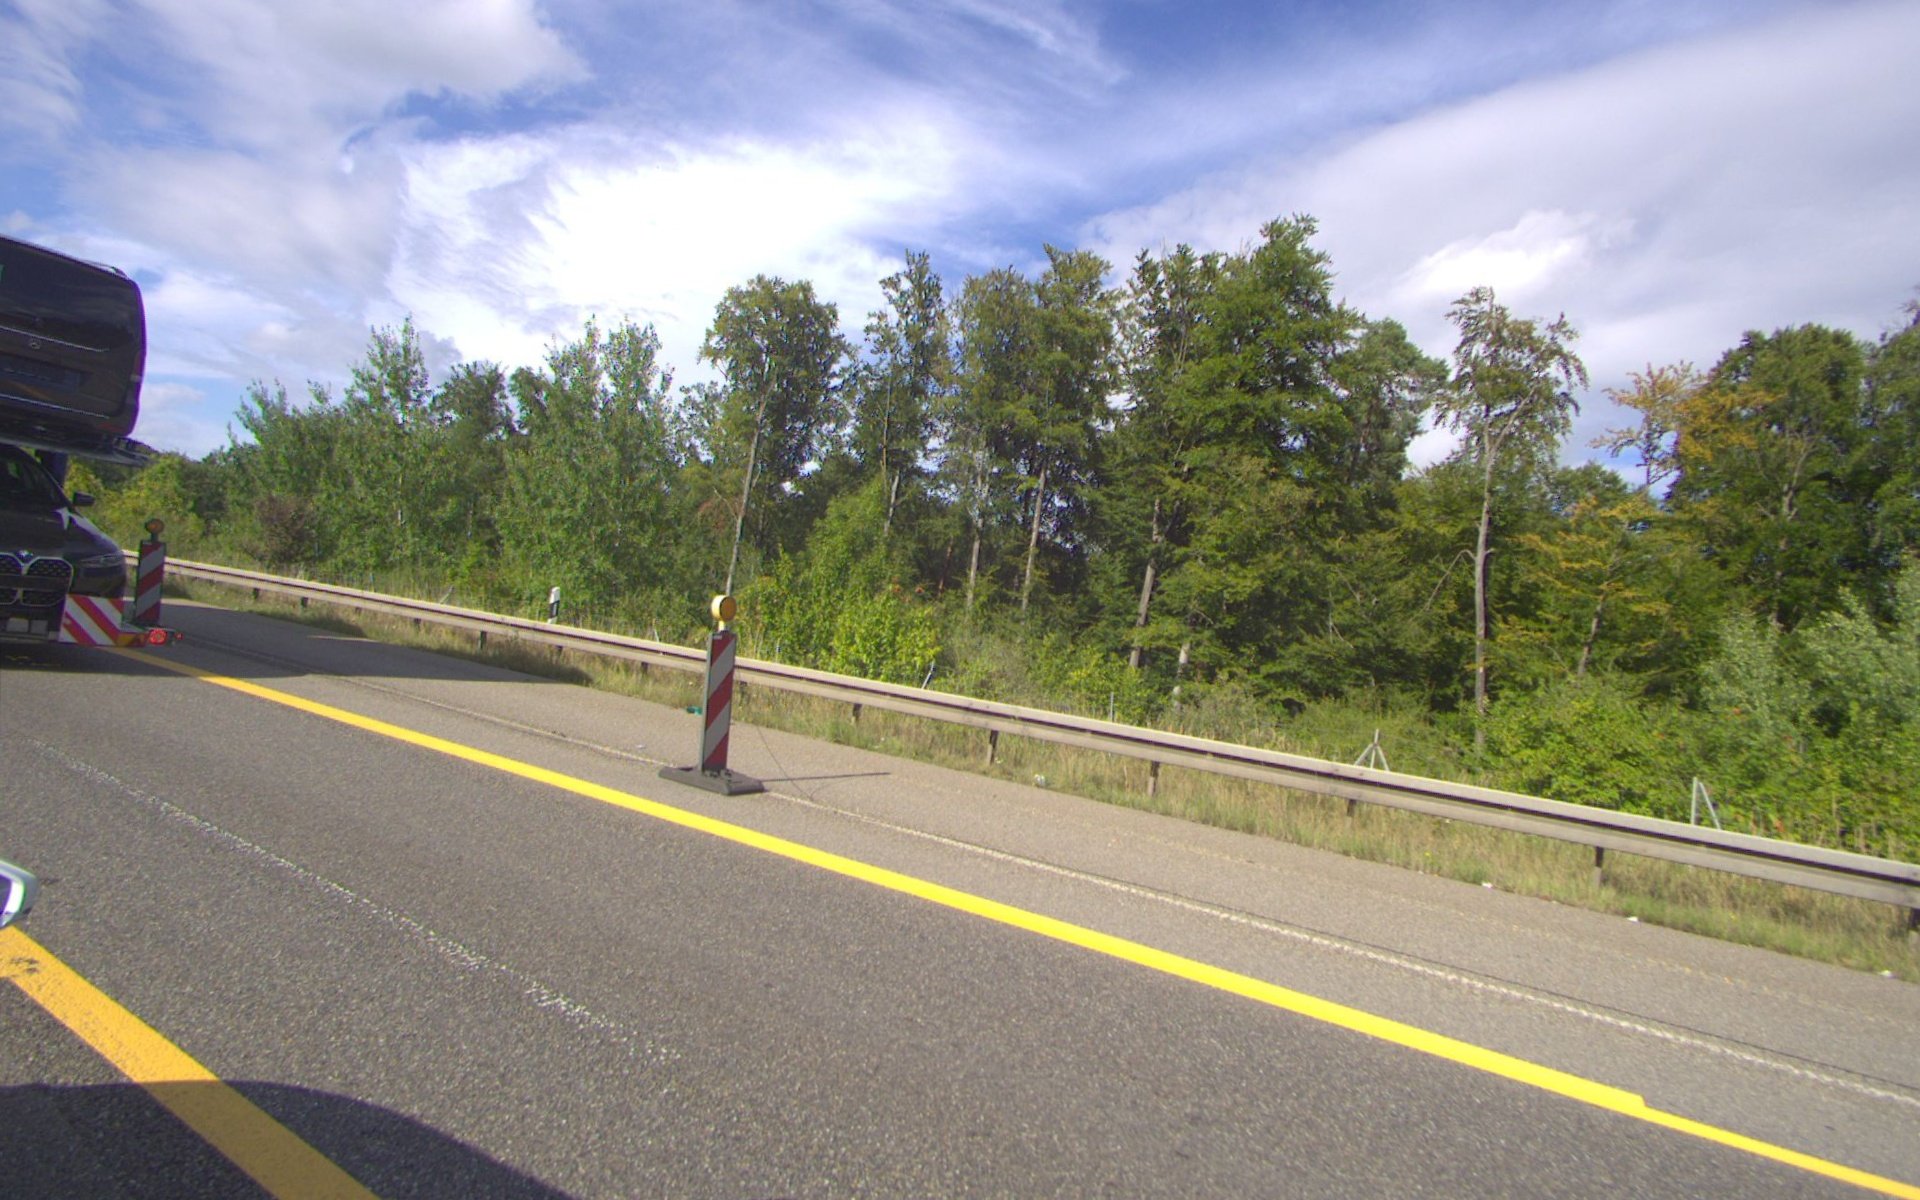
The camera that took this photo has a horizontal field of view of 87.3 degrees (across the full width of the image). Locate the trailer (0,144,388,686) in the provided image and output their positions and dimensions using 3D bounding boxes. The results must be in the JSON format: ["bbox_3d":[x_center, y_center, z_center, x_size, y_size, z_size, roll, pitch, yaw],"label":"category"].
[{"bbox_3d":[-14.109,-2.133,13.080,15.953,4.245,3.735,6,-2,30],"label":"trailer"}]
